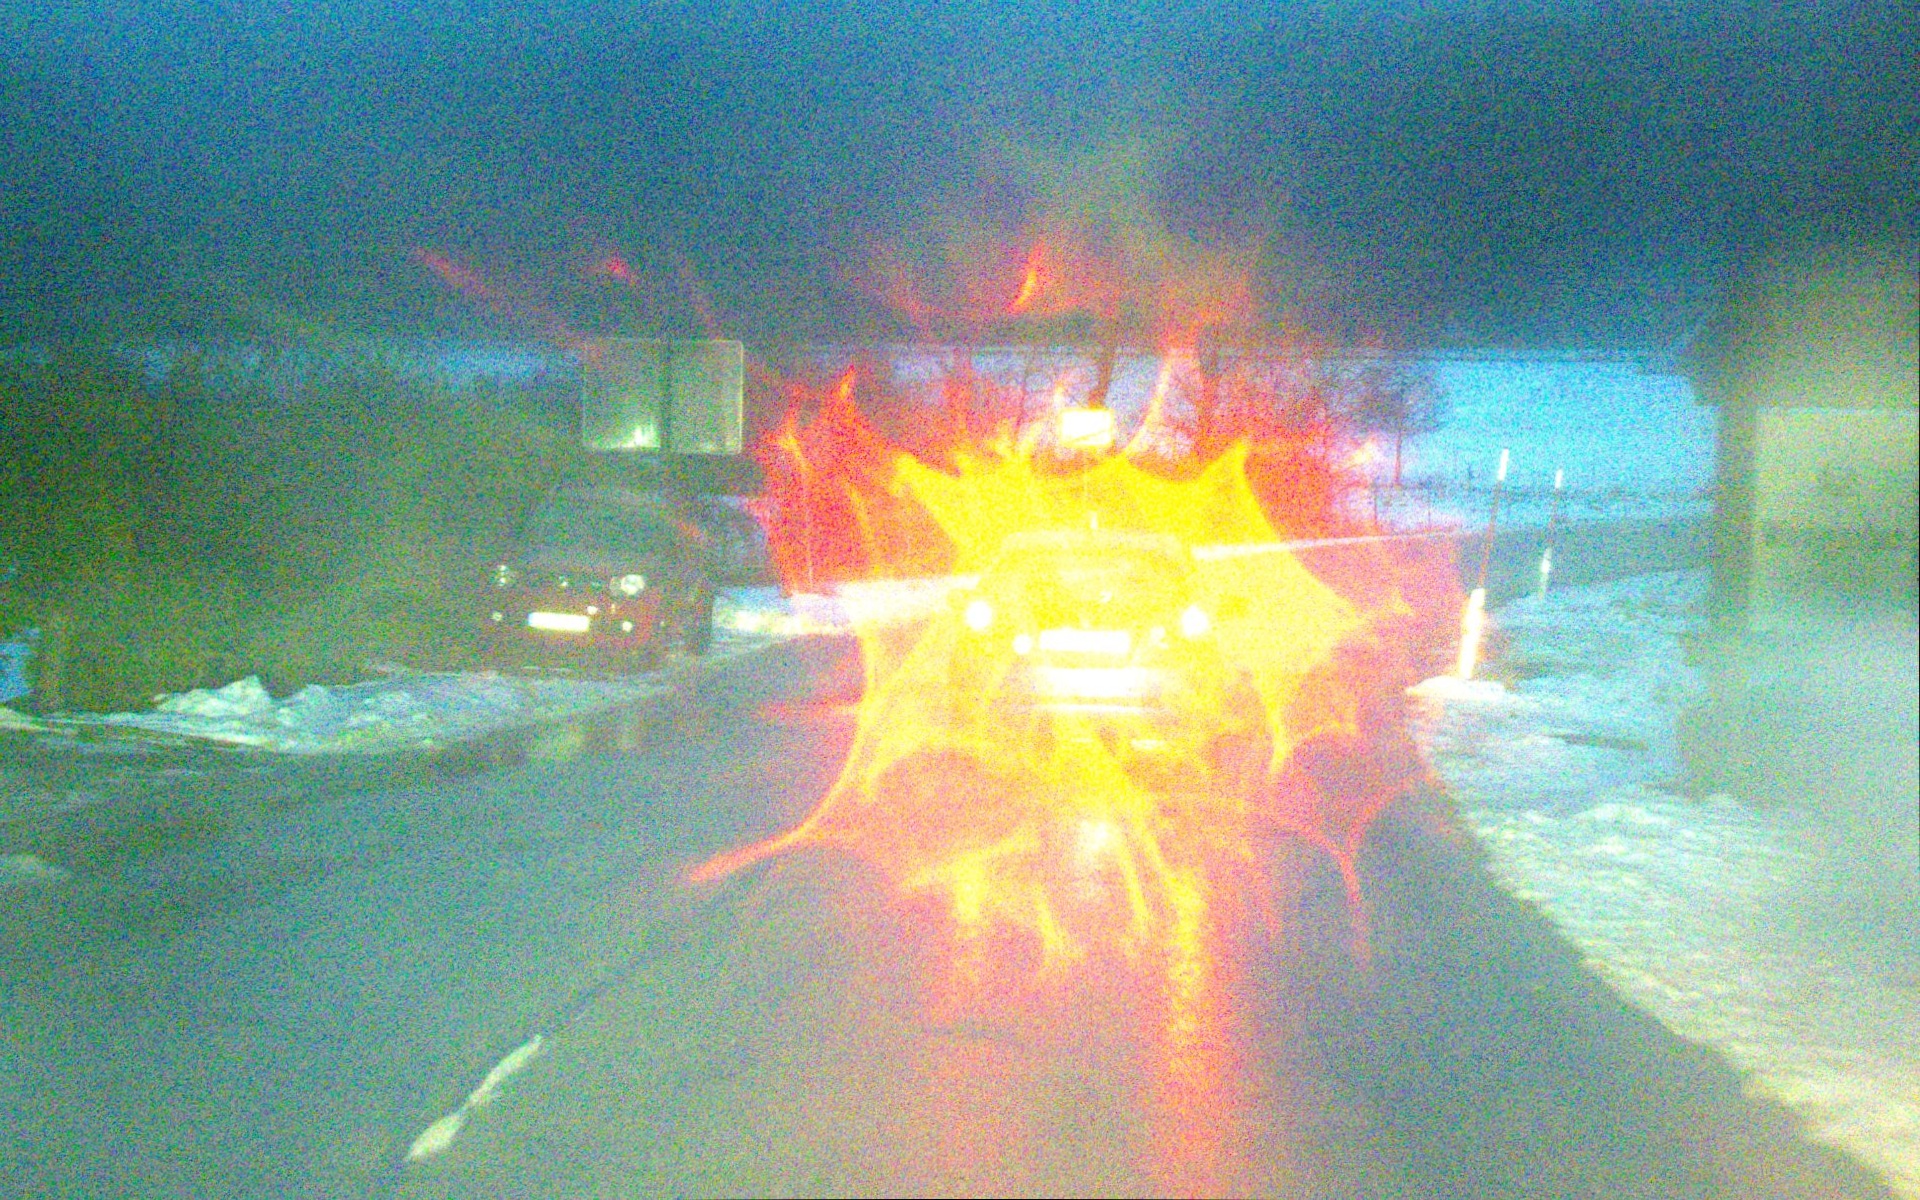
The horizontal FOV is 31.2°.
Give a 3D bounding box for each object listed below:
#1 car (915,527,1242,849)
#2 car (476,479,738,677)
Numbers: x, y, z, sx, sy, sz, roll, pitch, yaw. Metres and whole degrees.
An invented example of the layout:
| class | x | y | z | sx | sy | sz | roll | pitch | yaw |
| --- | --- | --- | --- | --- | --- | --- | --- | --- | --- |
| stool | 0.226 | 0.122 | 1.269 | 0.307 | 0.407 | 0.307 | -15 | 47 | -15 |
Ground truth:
| class | x | y | z | sx | sy | sz | roll | pitch | yaw |
| --- | --- | --- | --- | --- | --- | --- | --- | --- | --- |
| car | 0.707 | 0.503 | 21.969 | 1.822 | 1.790 | 3.578 | 3 | 0 | 0 |
| car | -3.147 | -0.252 | 31.253 | 1.719 | 1.529 | 3.517 | 2 | 4 | 5 |
